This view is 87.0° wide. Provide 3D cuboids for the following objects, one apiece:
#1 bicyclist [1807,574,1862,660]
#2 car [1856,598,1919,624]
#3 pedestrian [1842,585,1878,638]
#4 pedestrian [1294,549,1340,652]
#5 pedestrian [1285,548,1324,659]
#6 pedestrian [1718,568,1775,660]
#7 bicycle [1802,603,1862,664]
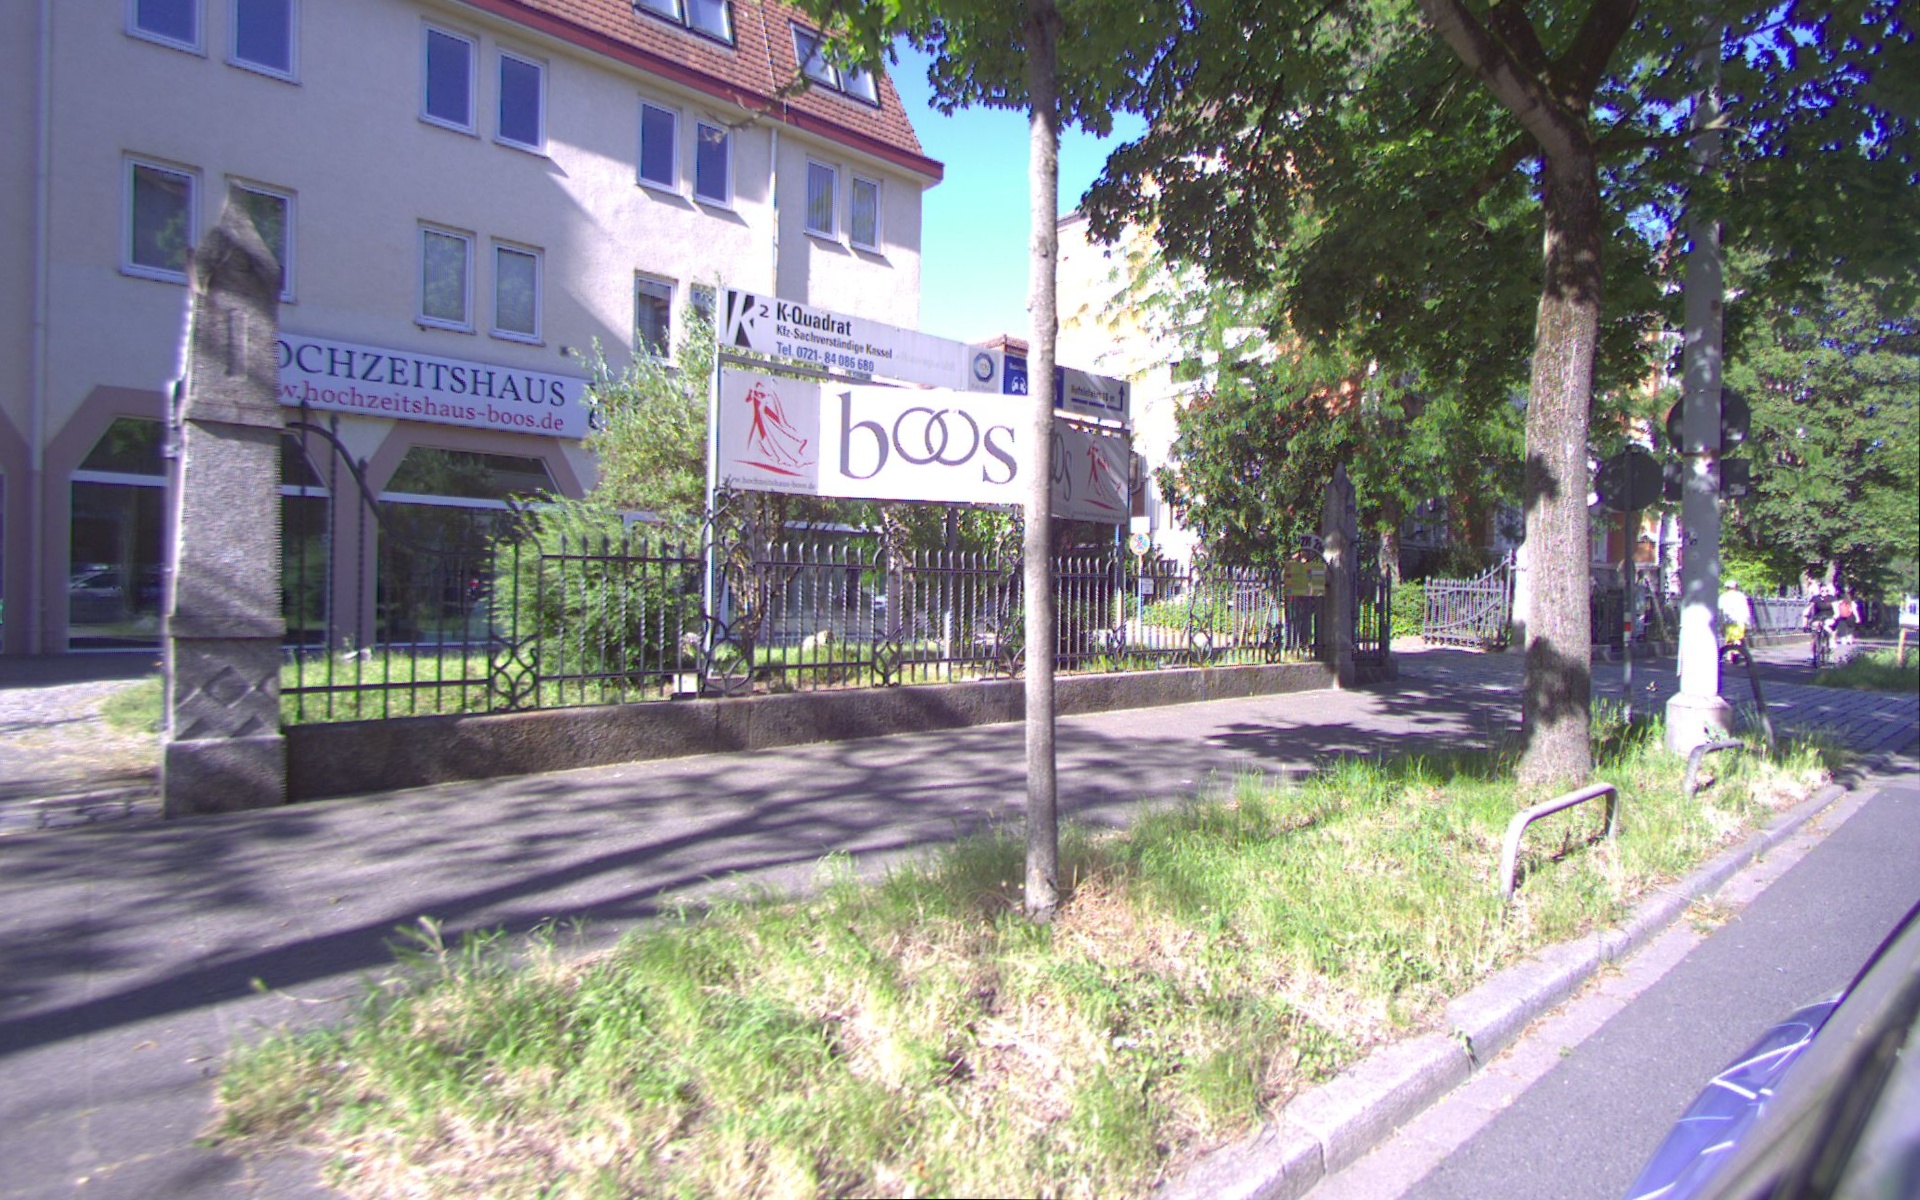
[{"bbox_3d":[18.379,0.351,21.271,0.873,1.716,0.647,1,3,-41],"label":"bicyclist"},{"bbox_3d":[57.029,0.685,60.842,2.010,1.434,4.417,1,2,-39],"label":"car"},{"bbox_3d":[29.252,0.359,32.897,0.806,1.678,0.696,0,4,-42],"label":"pedestrian"},{"bbox_3d":[6.191,0.001,17.538,0.538,1.730,0.507,3,1,43],"label":"pedestrian"},{"bbox_3d":[5.761,0.044,16.913,0.527,1.800,0.539,2,1,22],"label":"pedestrian"},{"bbox_3d":[16.272,0.267,20.965,0.745,1.809,0.801,4,3,33],"label":"pedestrian"},{"bbox_3d":[18.342,0.689,21.270,1.811,1.190,0.654,1,4,-42],"label":"bicycle"}]
